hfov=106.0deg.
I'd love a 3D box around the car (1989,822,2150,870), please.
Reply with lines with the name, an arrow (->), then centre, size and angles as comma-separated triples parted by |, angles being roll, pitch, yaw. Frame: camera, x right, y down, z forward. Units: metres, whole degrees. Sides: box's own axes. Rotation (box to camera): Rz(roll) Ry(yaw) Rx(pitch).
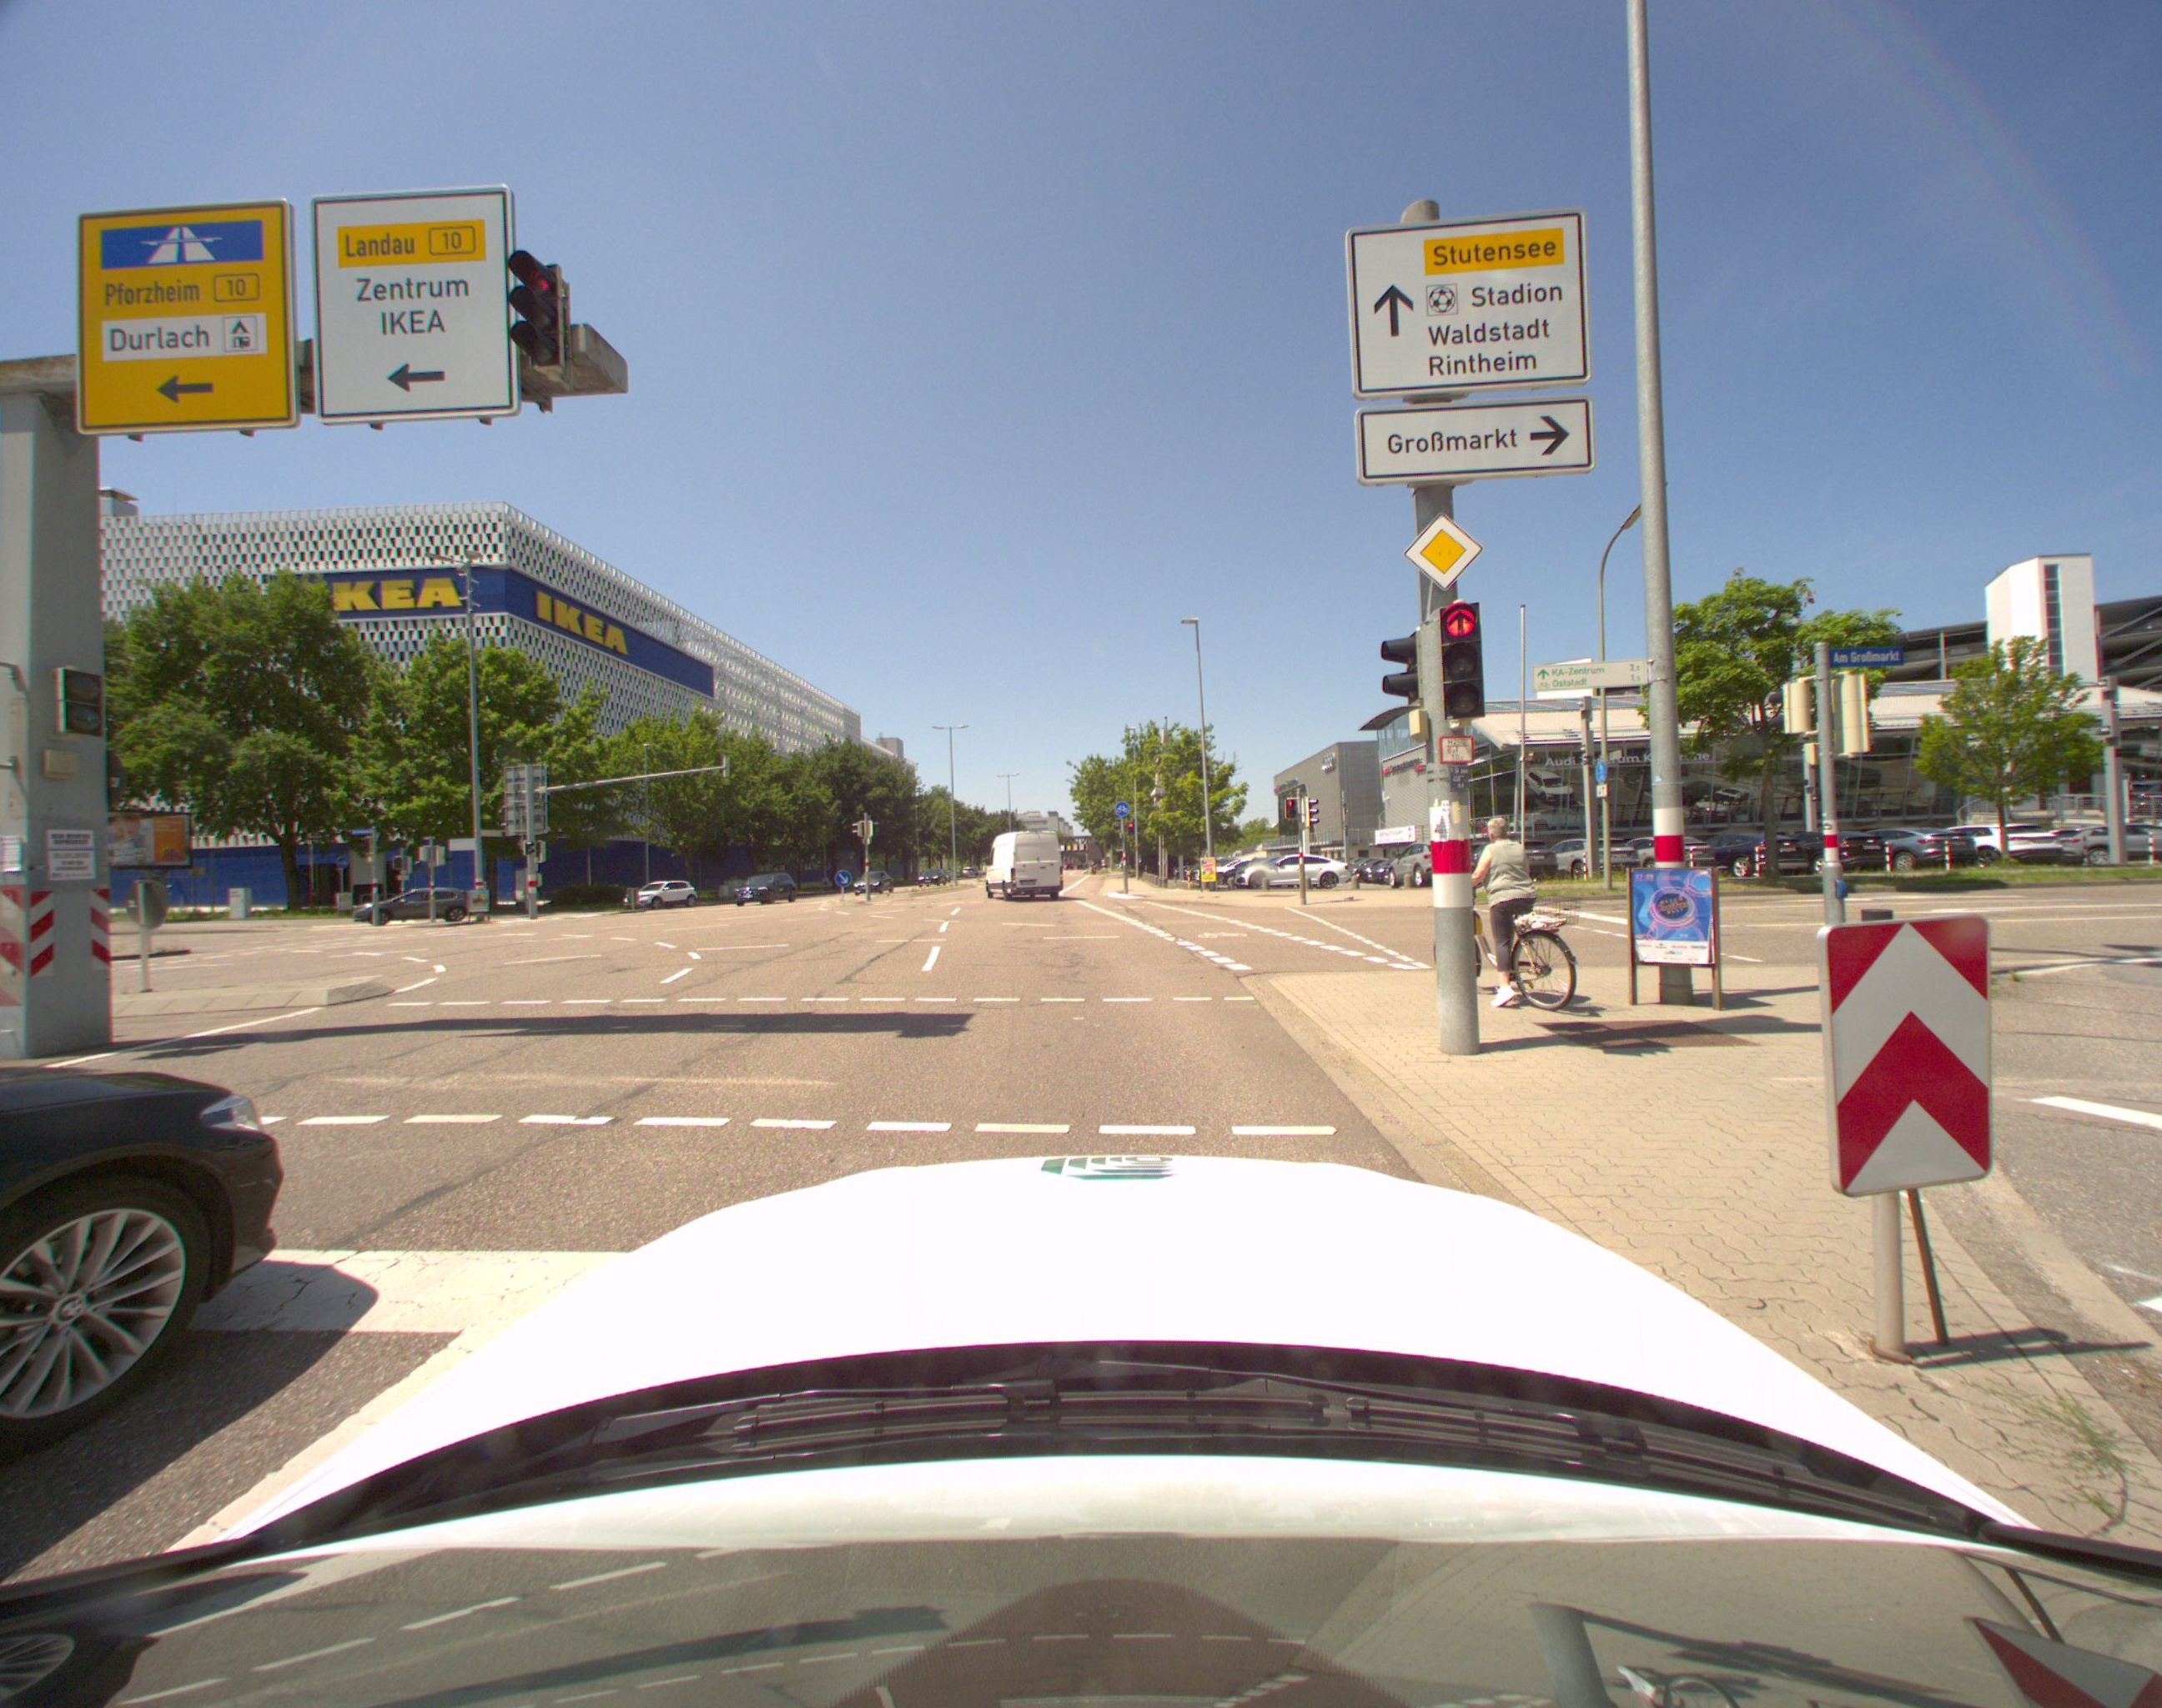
car -> 40.118, -0.304, 33.190 | 3.720, 1.772, 1.781 | -3, -1, 32

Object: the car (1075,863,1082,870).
car -> -0.632, 3.420, 223.643 | 1.765, 1.728, 4.001 | -3, -1, 2

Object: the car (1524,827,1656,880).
car -> 17.940, -0.018, 28.984 | 1.986, 1.639, 4.443 | -3, 0, 2

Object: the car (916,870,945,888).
car -> -13.018, 2.143, 70.679 | 1.678, 1.411, 3.666 | -3, -1, 2

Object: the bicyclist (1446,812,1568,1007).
bicyclist -> 4.018, 0.497, 7.740 | 0.732, 1.749, 0.753 | -1, 0, -3

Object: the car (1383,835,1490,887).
car -> 12.450, 0.214, 28.848 | 1.986, 1.639, 4.270 | -2, 0, 2

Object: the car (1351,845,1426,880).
car -> 19.312, 0.512, 51.260 | 3.971, 2.014, 2.001 | -2, -1, 2

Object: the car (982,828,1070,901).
car -> -2.271, 0.424, 31.613 | 2.101, 2.534, 5.767 | -1, -1, -17

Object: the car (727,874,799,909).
car -> -16.762, 1.937, 43.182 | 1.868, 1.598, 4.498 | -3, -1, 2

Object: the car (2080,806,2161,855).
car -> 46.686, -1.046, 35.414 | 3.728, 2.014, 1.866 | -2, -1, 11

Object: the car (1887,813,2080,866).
car -> 31.247, -0.478, 28.429 | 1.821, 1.639, 4.476 | -3, 0, 2

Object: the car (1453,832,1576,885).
car -> 15.086, 0.146, 28.659 | 1.986, 1.639, 4.559 | -2, 0, 2

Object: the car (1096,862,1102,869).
car -> 5.020, 3.203, 226.500 | 1.765, 1.728, 4.001 | -3, -1, 2

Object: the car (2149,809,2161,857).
car -> 39.428, -0.807, 26.880 | 4.705, 1.639, 1.844 | -3, 0, 24

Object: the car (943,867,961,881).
car -> -16.260, 2.523, 102.566 | 1.645, 1.653, 4.160 | -2, -1, -2

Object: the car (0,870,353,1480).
car -> -3.562, 0.802, 0.612 | 1.793, 1.466, 4.624 | -1, 0, 1

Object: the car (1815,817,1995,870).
car -> 28.566, -0.337, 28.473 | 1.821, 1.639, 4.476 | -3, 0, 2

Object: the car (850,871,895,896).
car -> -13.223, 1.863, 51.861 | 1.725, 1.427, 3.707 | -4, -1, 2

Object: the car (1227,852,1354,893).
car -> 8.455, 0.734, 33.235 | 4.721, 1.457, 2.002 | -2, 0, 3

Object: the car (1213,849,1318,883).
car -> 8.953, 0.579, 39.873 | 4.721, 1.457, 2.002 | -2, 0, 3

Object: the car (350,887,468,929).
car -> -29.466, 2.341, 35.759 | 1.753, 1.533, 3.777 | -4, -1, 44

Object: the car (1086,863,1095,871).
car -> 1.214, 1.650, 105.465 | 1.133, 1.042, 2.309 | -2, 0, 2

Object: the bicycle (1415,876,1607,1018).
bicycle -> 4.048, 0.815, 7.875 | 0.784, 1.127, 1.919 | -1, 0, -2

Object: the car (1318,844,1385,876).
car -> 18.739, 0.416, 56.517 | 3.971, 2.014, 2.001 | -2, -1, 2

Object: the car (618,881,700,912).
car -> -23.338, 2.316, 45.188 | 1.609, 1.457, 4.088 | -3, -1, 17

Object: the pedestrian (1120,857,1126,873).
pedestrian -> 5.260, 1.349, 102.724 | 0.660, 1.963, 0.759 | -2, -1, 1

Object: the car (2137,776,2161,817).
car -> 54.874, -2.928, 39.502 | 1.989, 2.013, 3.995 | -2, -1, -3

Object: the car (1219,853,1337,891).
car -> 8.580, 0.787, 35.774 | 4.721, 1.457, 2.002 | -2, -2, 3

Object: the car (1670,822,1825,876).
car -> 23.169, -0.165, 28.585 | 1.821, 1.639, 4.476 | -3, 0, 2

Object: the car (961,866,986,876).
car -> -19.652, 3.070, 149.000 | 3.985, 1.810, 2.009 | 0, 0, 16

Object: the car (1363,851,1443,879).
car -> 19.292, 0.650, 48.916 | 4.076, 1.460, 1.720 | -2, 0, 2

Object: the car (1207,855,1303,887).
car -> 9.278, 0.883, 43.669 | 4.726, 1.457, 2.000 | -2, 0, 0

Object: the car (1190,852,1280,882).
car -> 8.748, 0.732, 46.502 | 4.726, 1.457, 2.000 | -2, 0, 0

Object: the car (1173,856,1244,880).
car -> 9.157, 0.972, 58.771 | 4.726, 1.457, 2.000 | -3, 0, 0

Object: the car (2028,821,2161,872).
car -> 39.045, -0.288, 30.870 | 3.665, 1.777, 1.759 | -3, -1, 28

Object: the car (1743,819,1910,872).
car -> 25.897, -0.291, 28.548 | 1.821, 1.639, 4.476 | -3, 0, 2

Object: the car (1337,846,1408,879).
car -> 19.335, 0.567, 54.077 | 3.971, 2.014, 2.001 | -2, -1, 2

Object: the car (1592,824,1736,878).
car -> 20.334, -0.105, 28.665 | 1.878, 1.639, 4.526 | -3, 0, 2
